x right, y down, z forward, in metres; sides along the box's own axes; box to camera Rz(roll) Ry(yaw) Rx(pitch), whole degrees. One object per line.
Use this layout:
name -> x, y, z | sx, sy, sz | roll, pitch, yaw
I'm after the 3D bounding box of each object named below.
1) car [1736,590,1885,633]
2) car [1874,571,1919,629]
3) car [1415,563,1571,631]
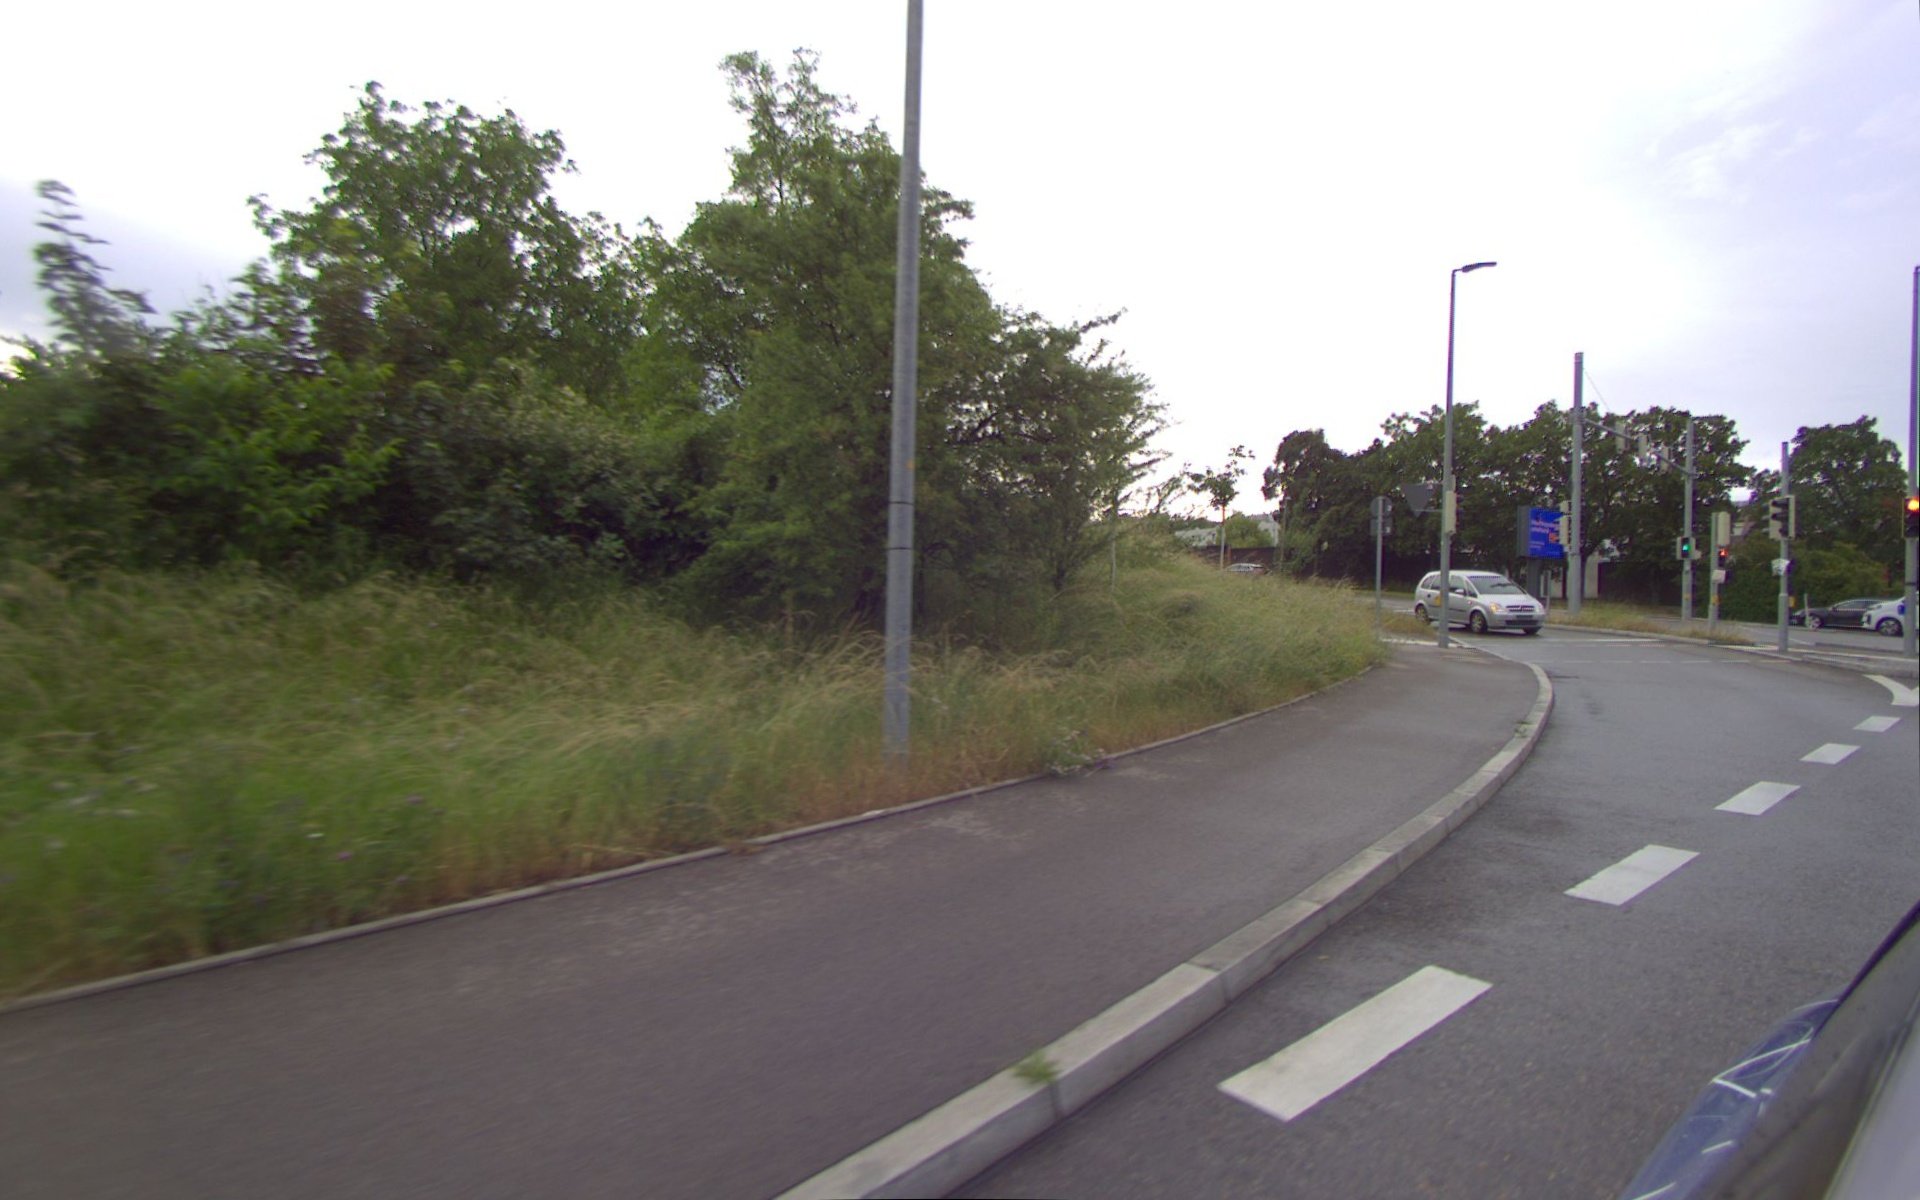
car -> 35.841, 0.459, 42.762 | 1.805, 1.421, 4.485 | 2, 2, -35
car -> 36.344, 0.140, 36.125 | 1.805, 2.059, 5.195 | 2, 2, -36
car -> 14.313, -0.125, 27.464 | 1.787, 1.624, 4.068 | -2, 1, -5
